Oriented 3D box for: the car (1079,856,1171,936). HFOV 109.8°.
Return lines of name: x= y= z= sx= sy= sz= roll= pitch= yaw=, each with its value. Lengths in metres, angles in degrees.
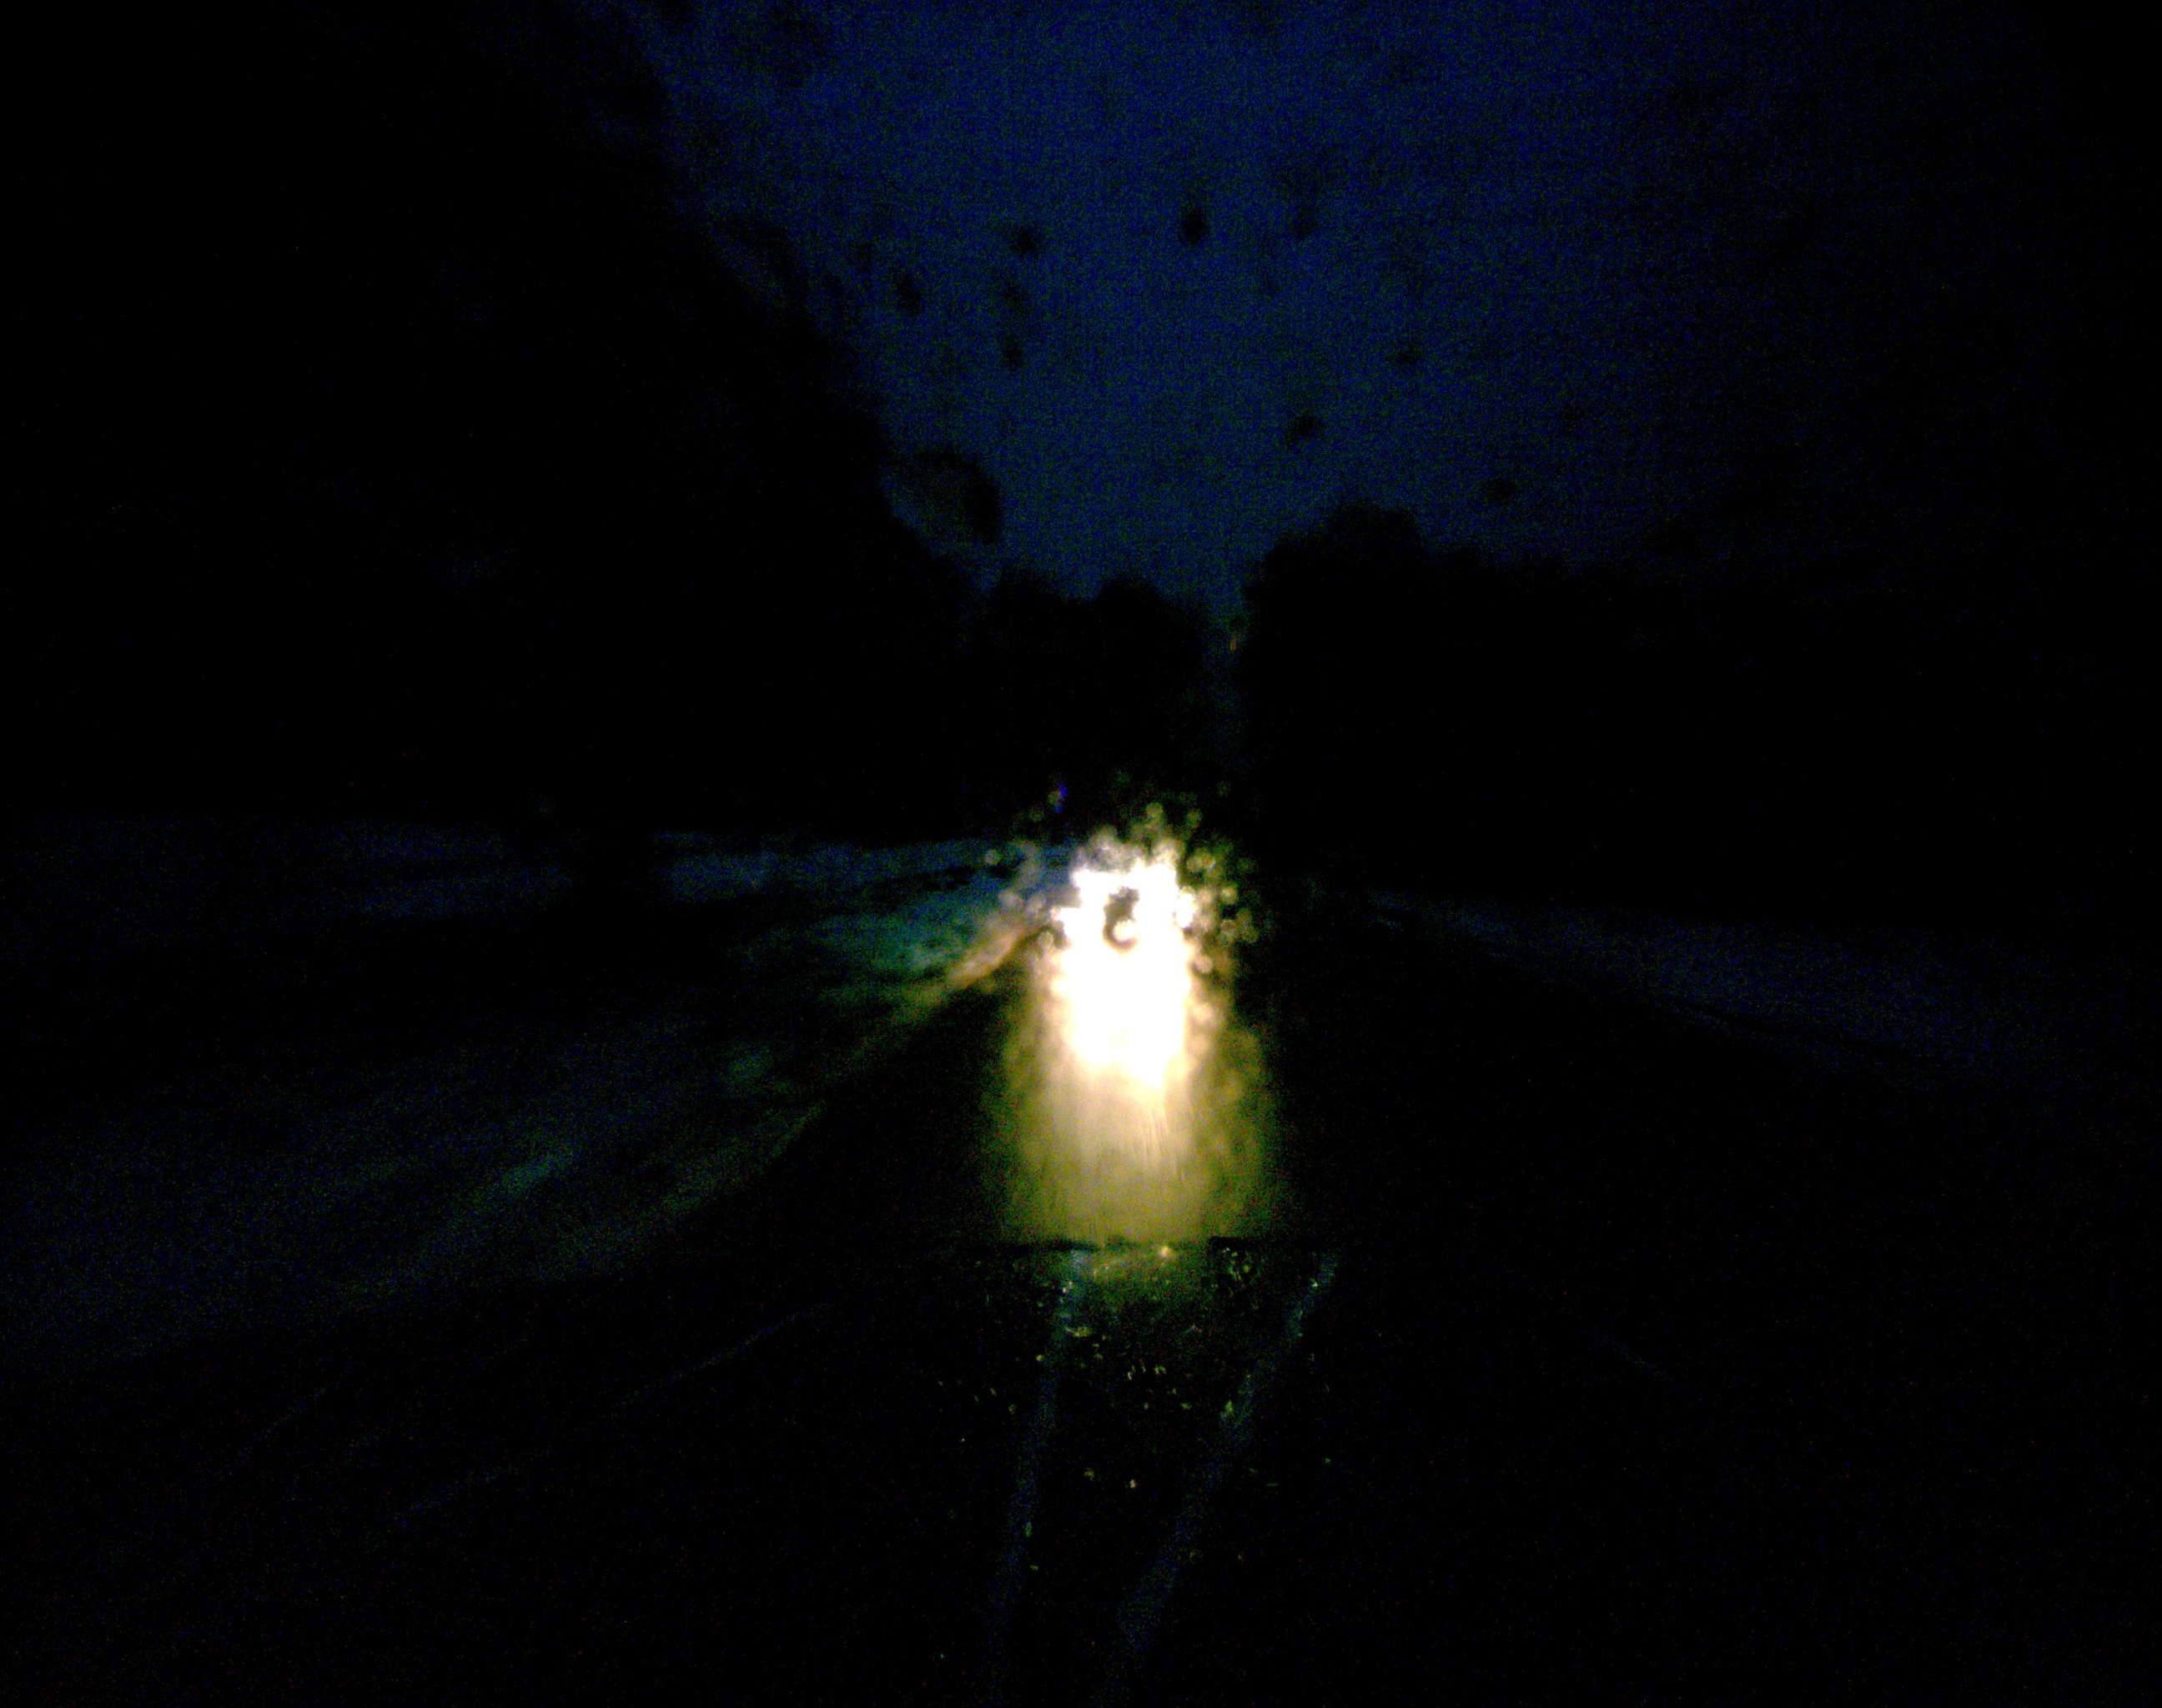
car: x=1.087 y=0.850 z=16.915 sx=1.648 sy=1.446 sz=3.682 roll=-2 pitch=1 yaw=9
